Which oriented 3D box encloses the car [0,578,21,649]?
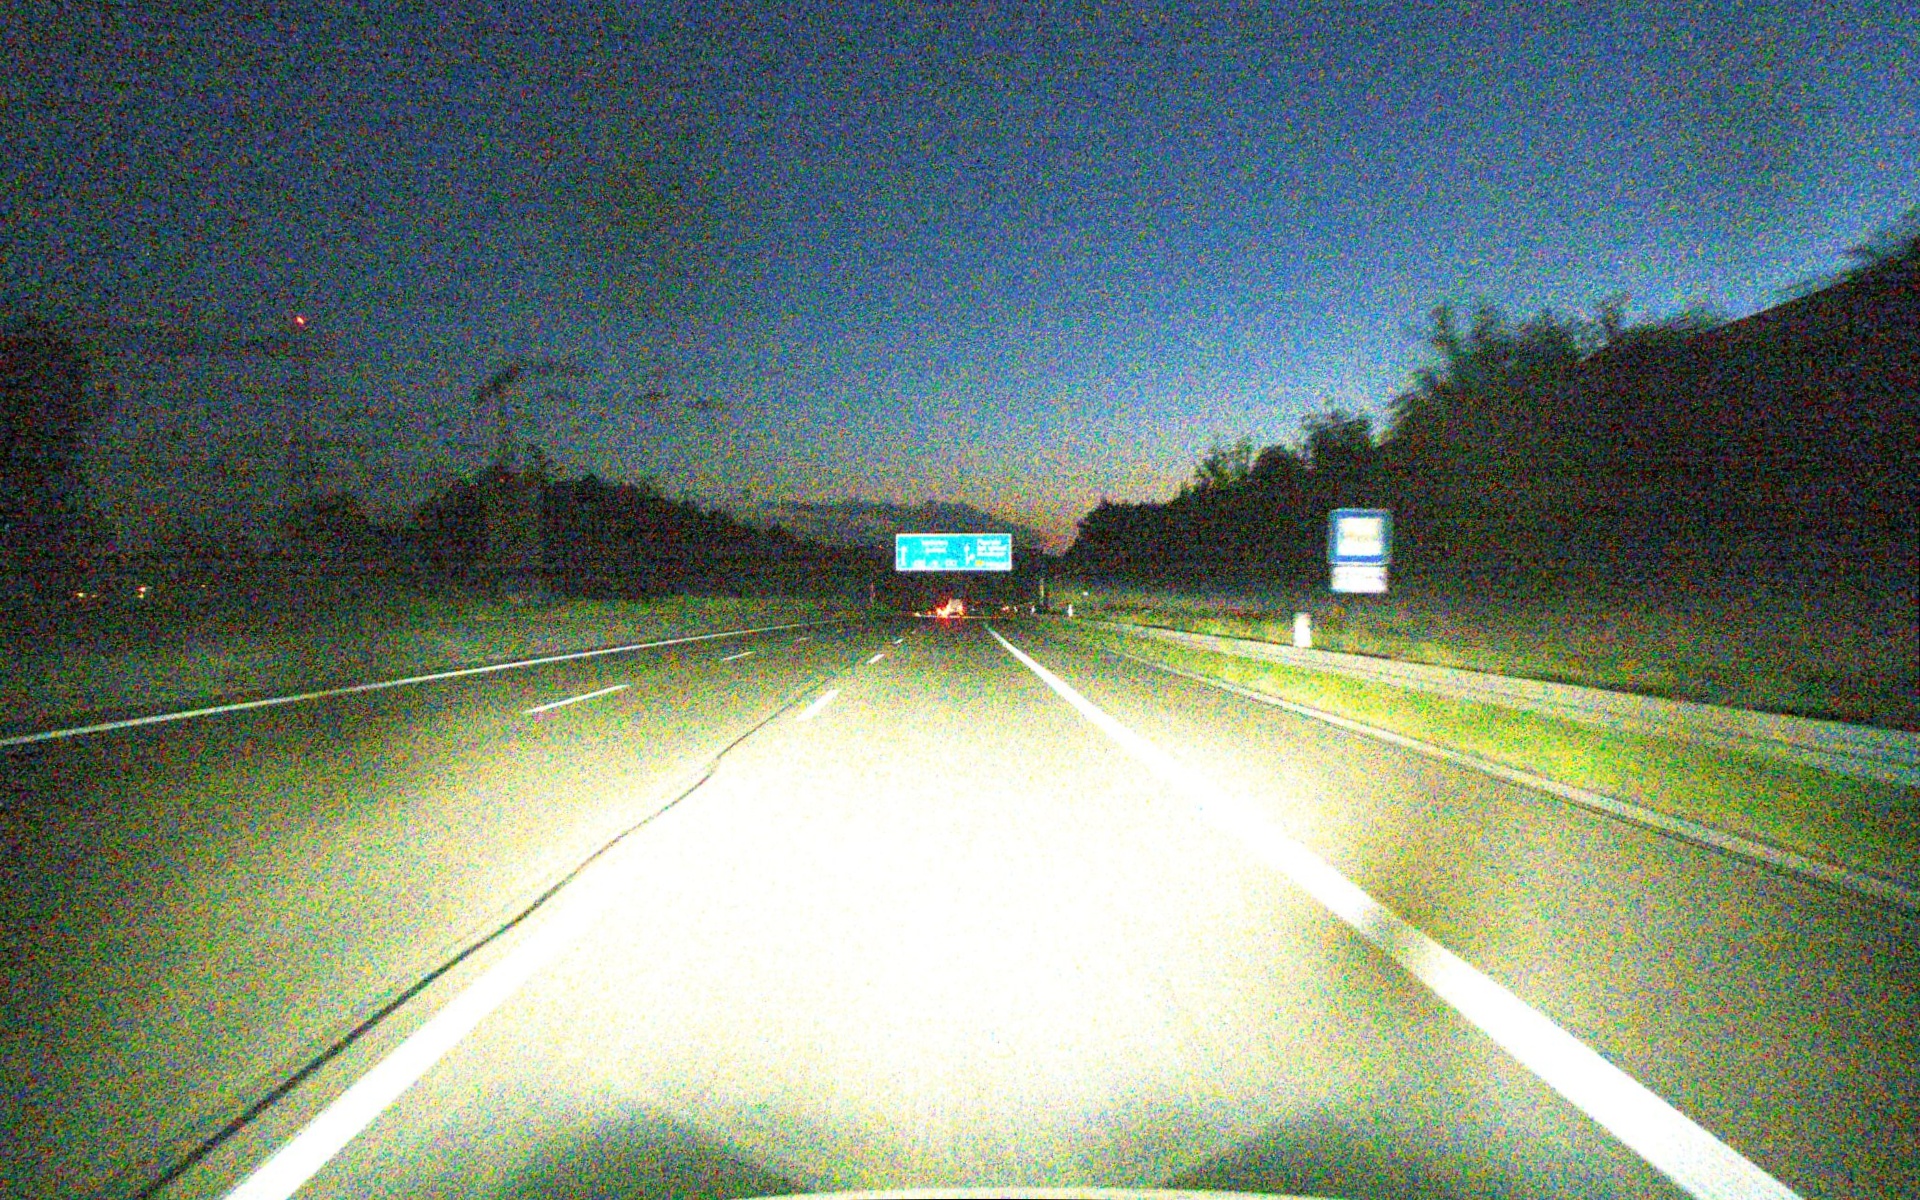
[{"bbox_3d":[-22.337,0.279,35.698,1.858,1.589,4.000,1,0,0],"label":"car"}]

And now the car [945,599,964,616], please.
[{"bbox_3d":[-0.789,1.109,239.192,2.458,2.354,4.972,0,-1,3],"label":"car"}]
